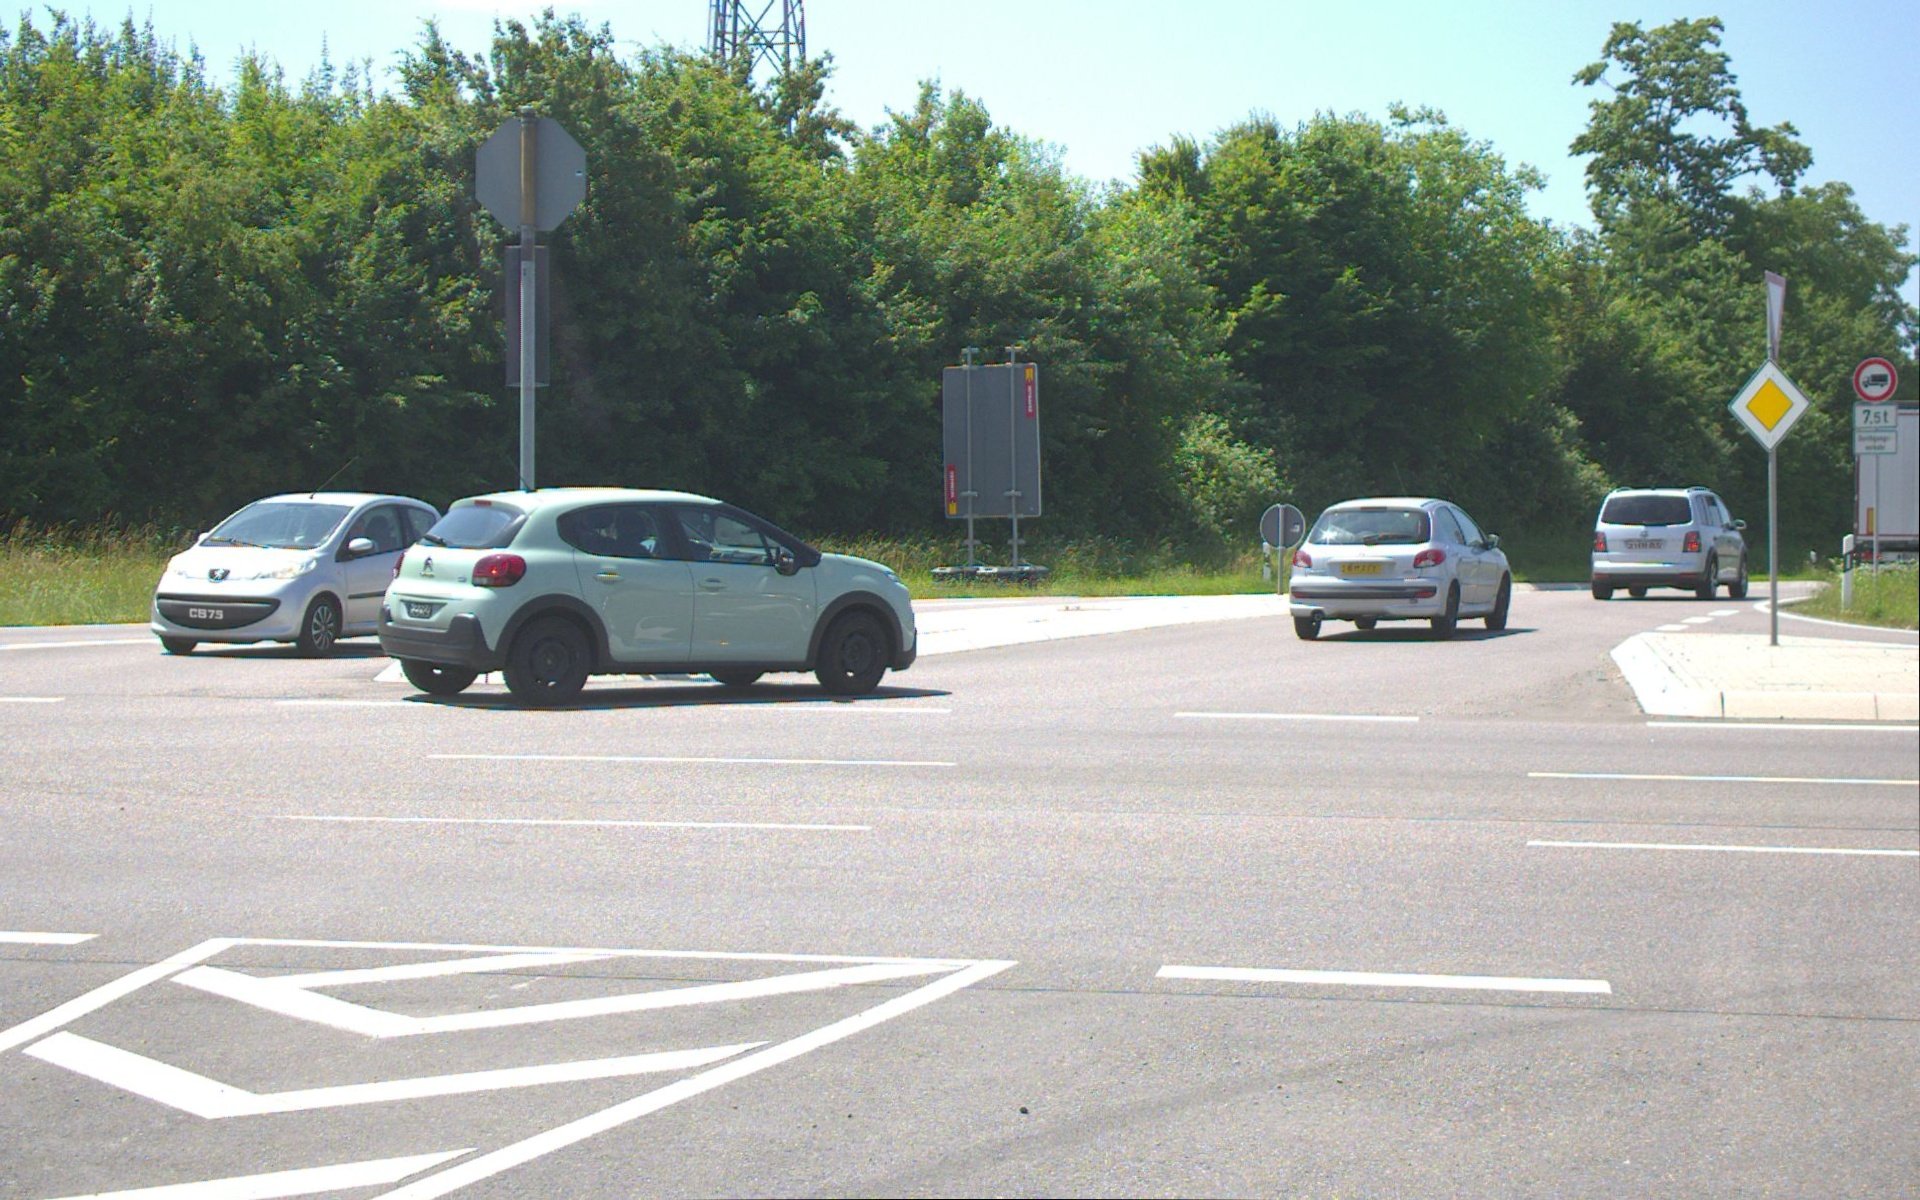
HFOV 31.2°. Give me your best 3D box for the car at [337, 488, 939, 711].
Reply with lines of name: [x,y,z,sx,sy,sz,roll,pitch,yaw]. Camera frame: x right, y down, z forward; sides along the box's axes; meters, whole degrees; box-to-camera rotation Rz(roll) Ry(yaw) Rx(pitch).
car: [-2.276,-0.065,24.737,3.974,1.399,1.734,-2,4,-35]

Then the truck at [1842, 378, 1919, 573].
truck: [23.981,-2.810,80.941,3.130,4.158,16.664,1,2,25]

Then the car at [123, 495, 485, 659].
car: [-5.935,-0.256,31.476,1.567,1.366,3.527,1,3,23]

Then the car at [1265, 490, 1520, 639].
car: [4.557,-0.414,35.812,1.814,1.408,3.780,1,3,20]

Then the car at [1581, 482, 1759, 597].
car: [10.703,-0.942,51.637,1.815,1.619,4.055,0,2,24]
